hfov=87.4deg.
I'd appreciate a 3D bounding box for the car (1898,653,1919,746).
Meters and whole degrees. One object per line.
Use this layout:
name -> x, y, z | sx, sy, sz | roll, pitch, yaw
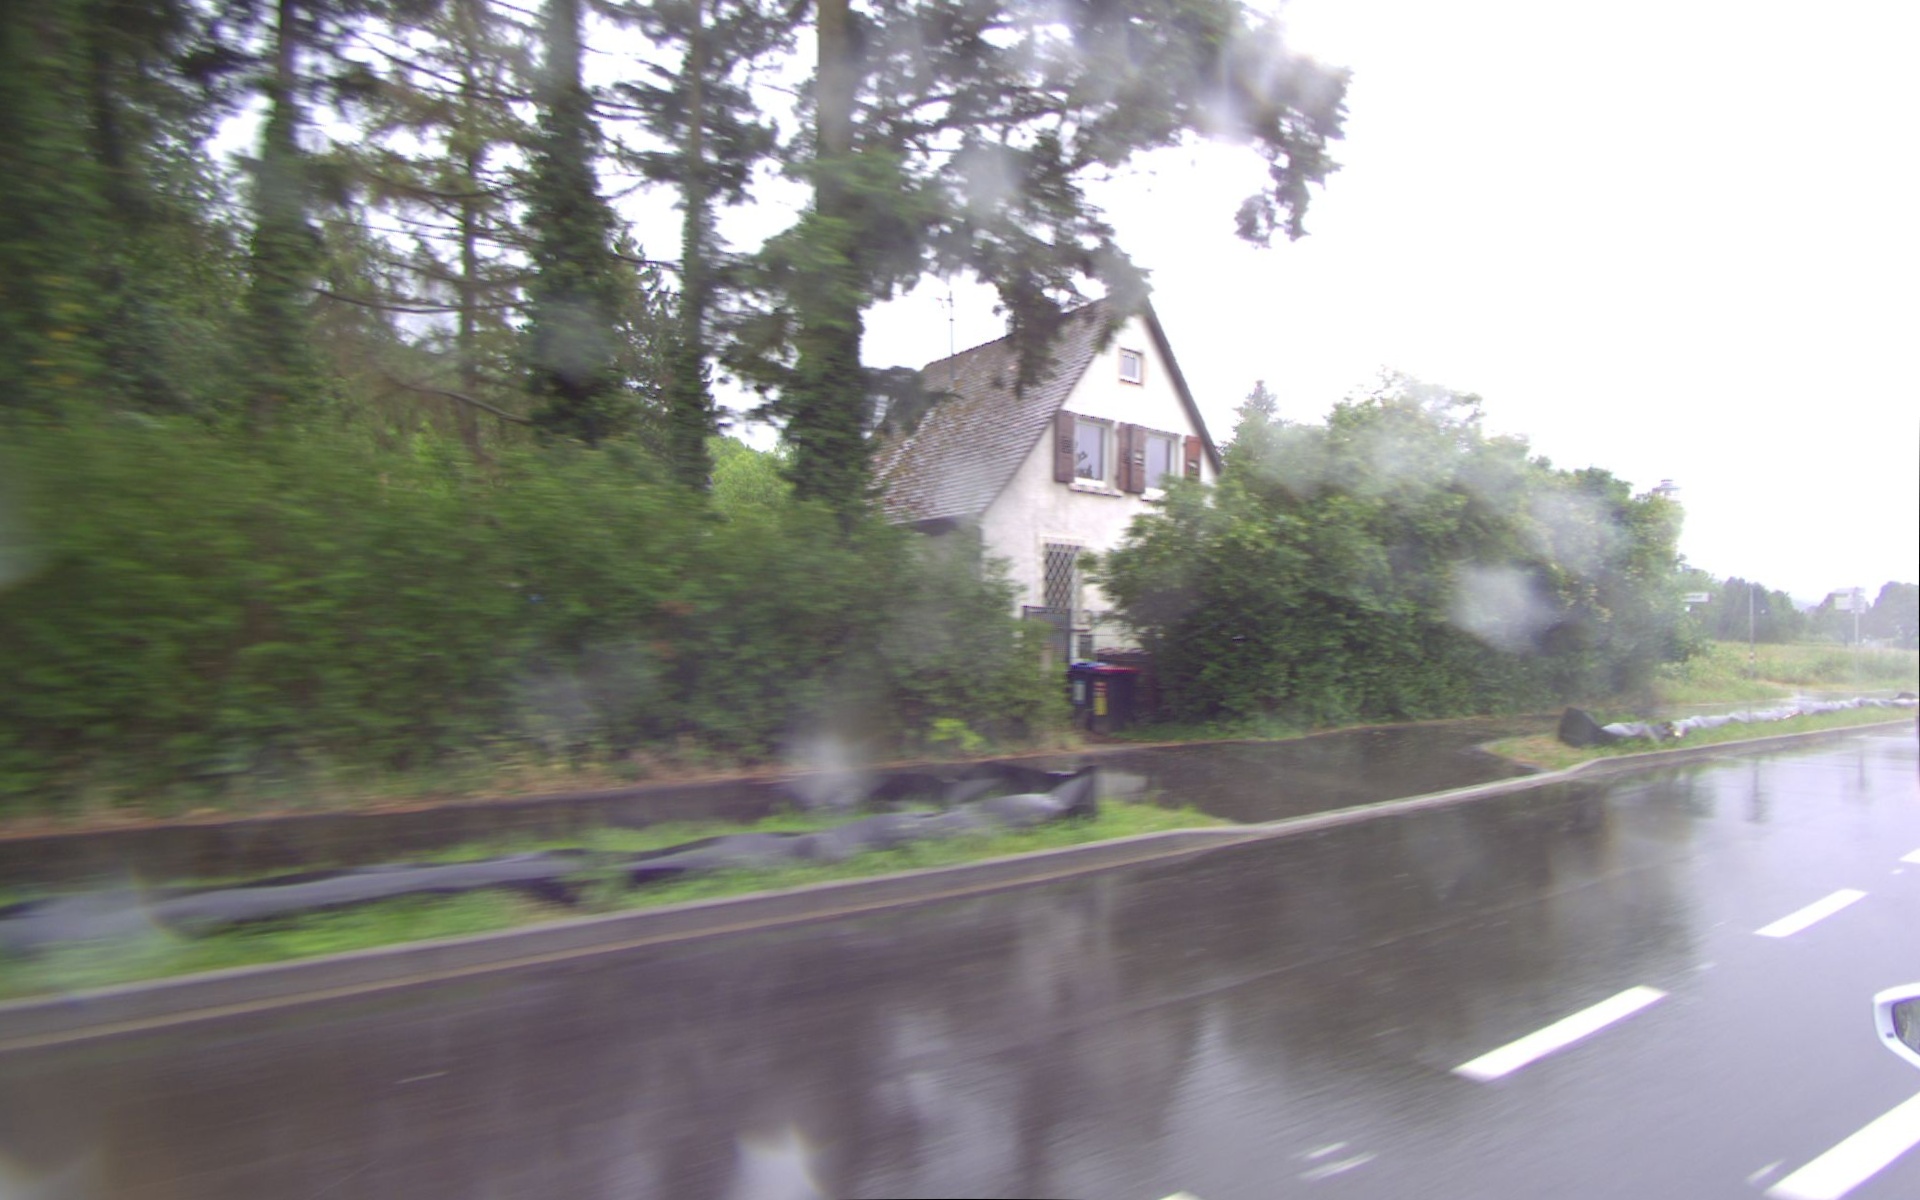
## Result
car -> 16.535, 1.523, 15.928 | 4.185, 1.400, 1.671 | 2, -4, -37
